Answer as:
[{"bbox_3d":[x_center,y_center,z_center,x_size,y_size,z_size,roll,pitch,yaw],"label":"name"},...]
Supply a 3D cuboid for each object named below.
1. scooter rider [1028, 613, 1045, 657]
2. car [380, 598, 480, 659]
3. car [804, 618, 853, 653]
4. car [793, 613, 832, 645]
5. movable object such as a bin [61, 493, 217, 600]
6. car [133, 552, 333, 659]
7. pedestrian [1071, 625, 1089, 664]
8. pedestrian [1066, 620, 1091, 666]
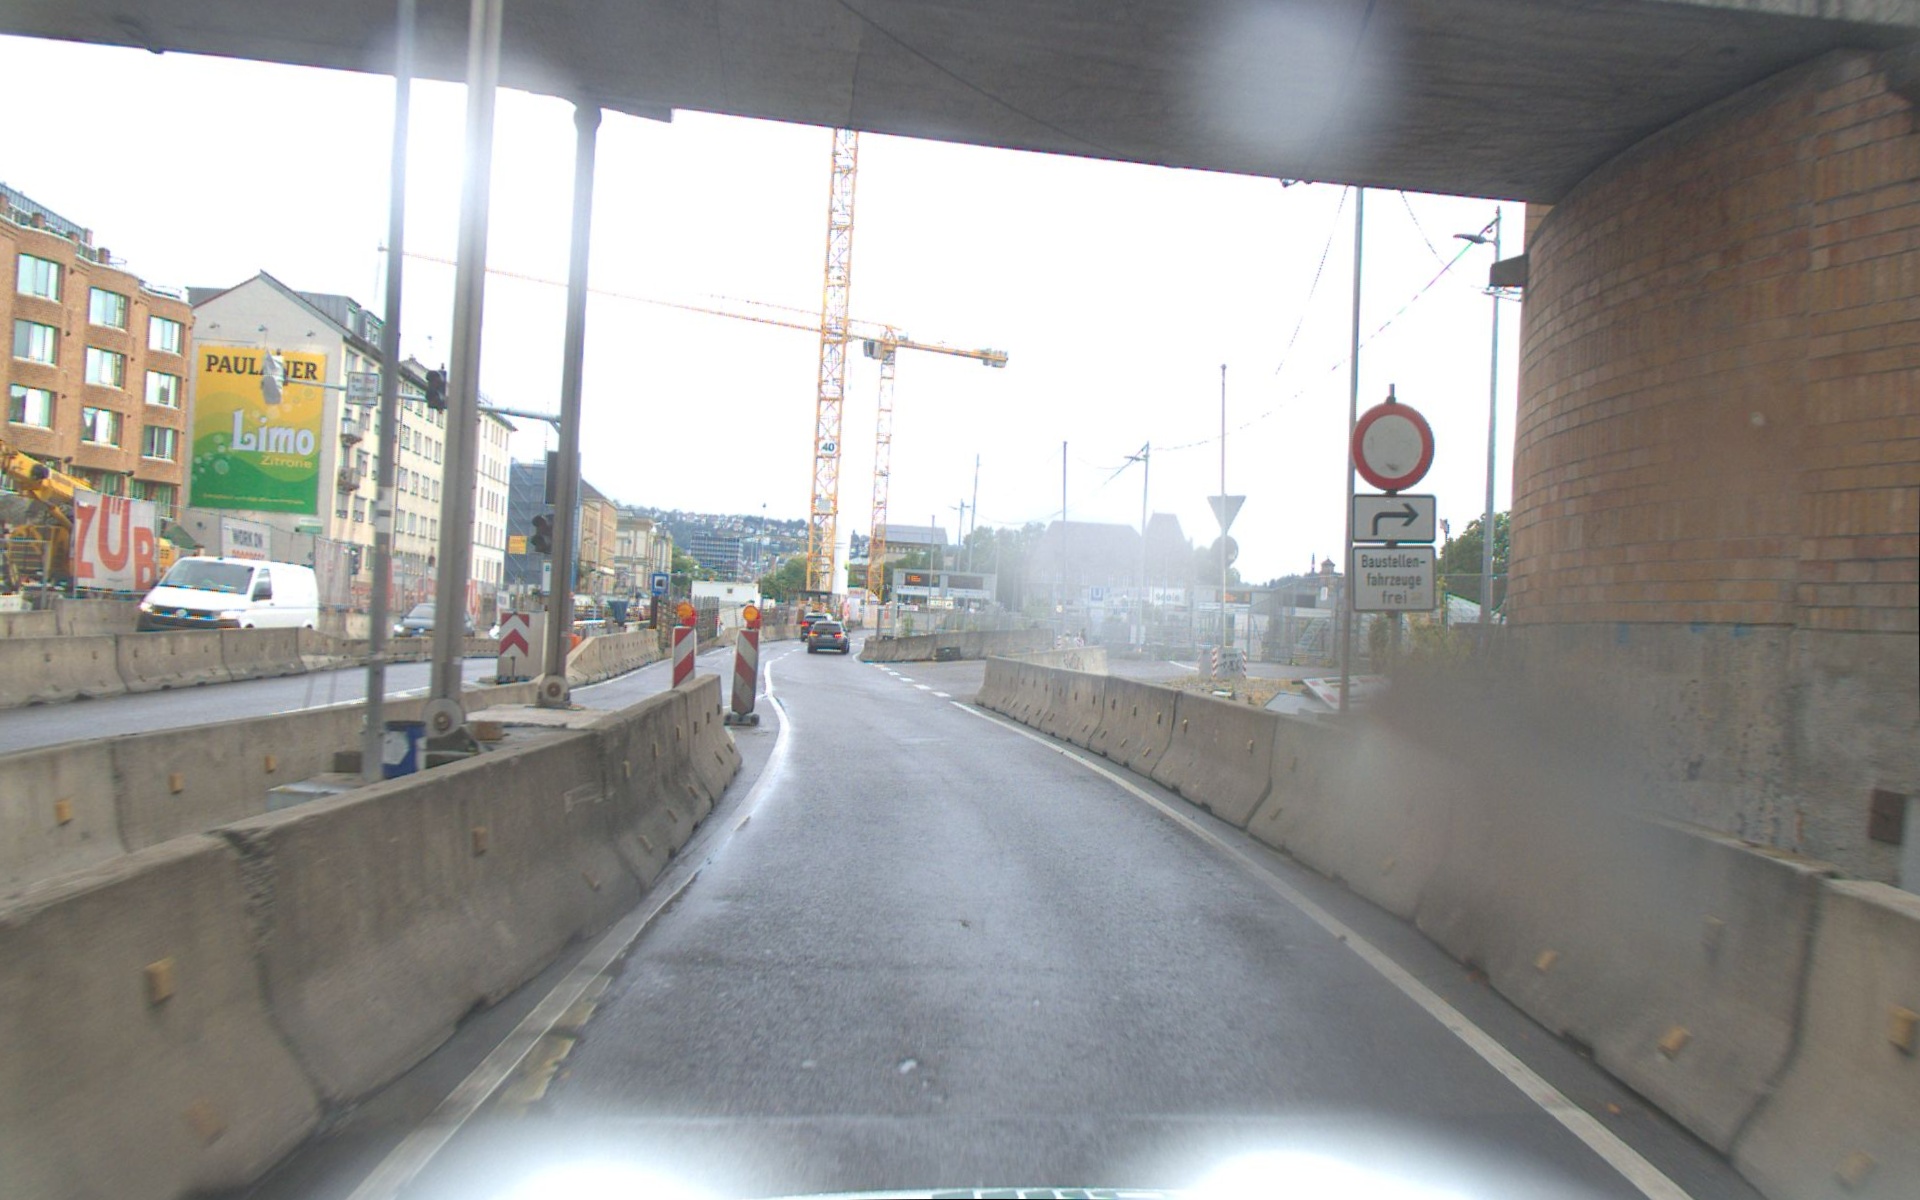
[{"bbox_3d":[3.214,1.470,69.603,0.510,1.786,0.700,2,-1,13],"label":"scooter rider"},{"bbox_3d":[-15.695,0.807,49.146,1.770,1.651,4.032,3,0,-3],"label":"car"},{"bbox_3d":[-6.036,1.645,76.332,1.825,1.458,4.655,3,-1,-1],"label":"car"},{"bbox_3d":[-8.582,1.676,96.655,1.825,1.689,4.655,3,0,-1],"label":"car"},{"bbox_3d":[-19.028,-1.181,38.540,1.988,2.317,4.285,0,0,-8],"label":"movable object such as a bin"},{"bbox_3d":[-14.198,0.081,32.679,1.770,1.853,5.298,3,0,-3],"label":"car"},{"bbox_3d":[5.799,2.149,79.852,0.676,1.809,1.022,2,-2,-4],"label":"pedestrian"},{"bbox_3d":[4.827,1.753,67.594,0.680,1.809,0.810,3,-2,-22],"label":"pedestrian"}]
